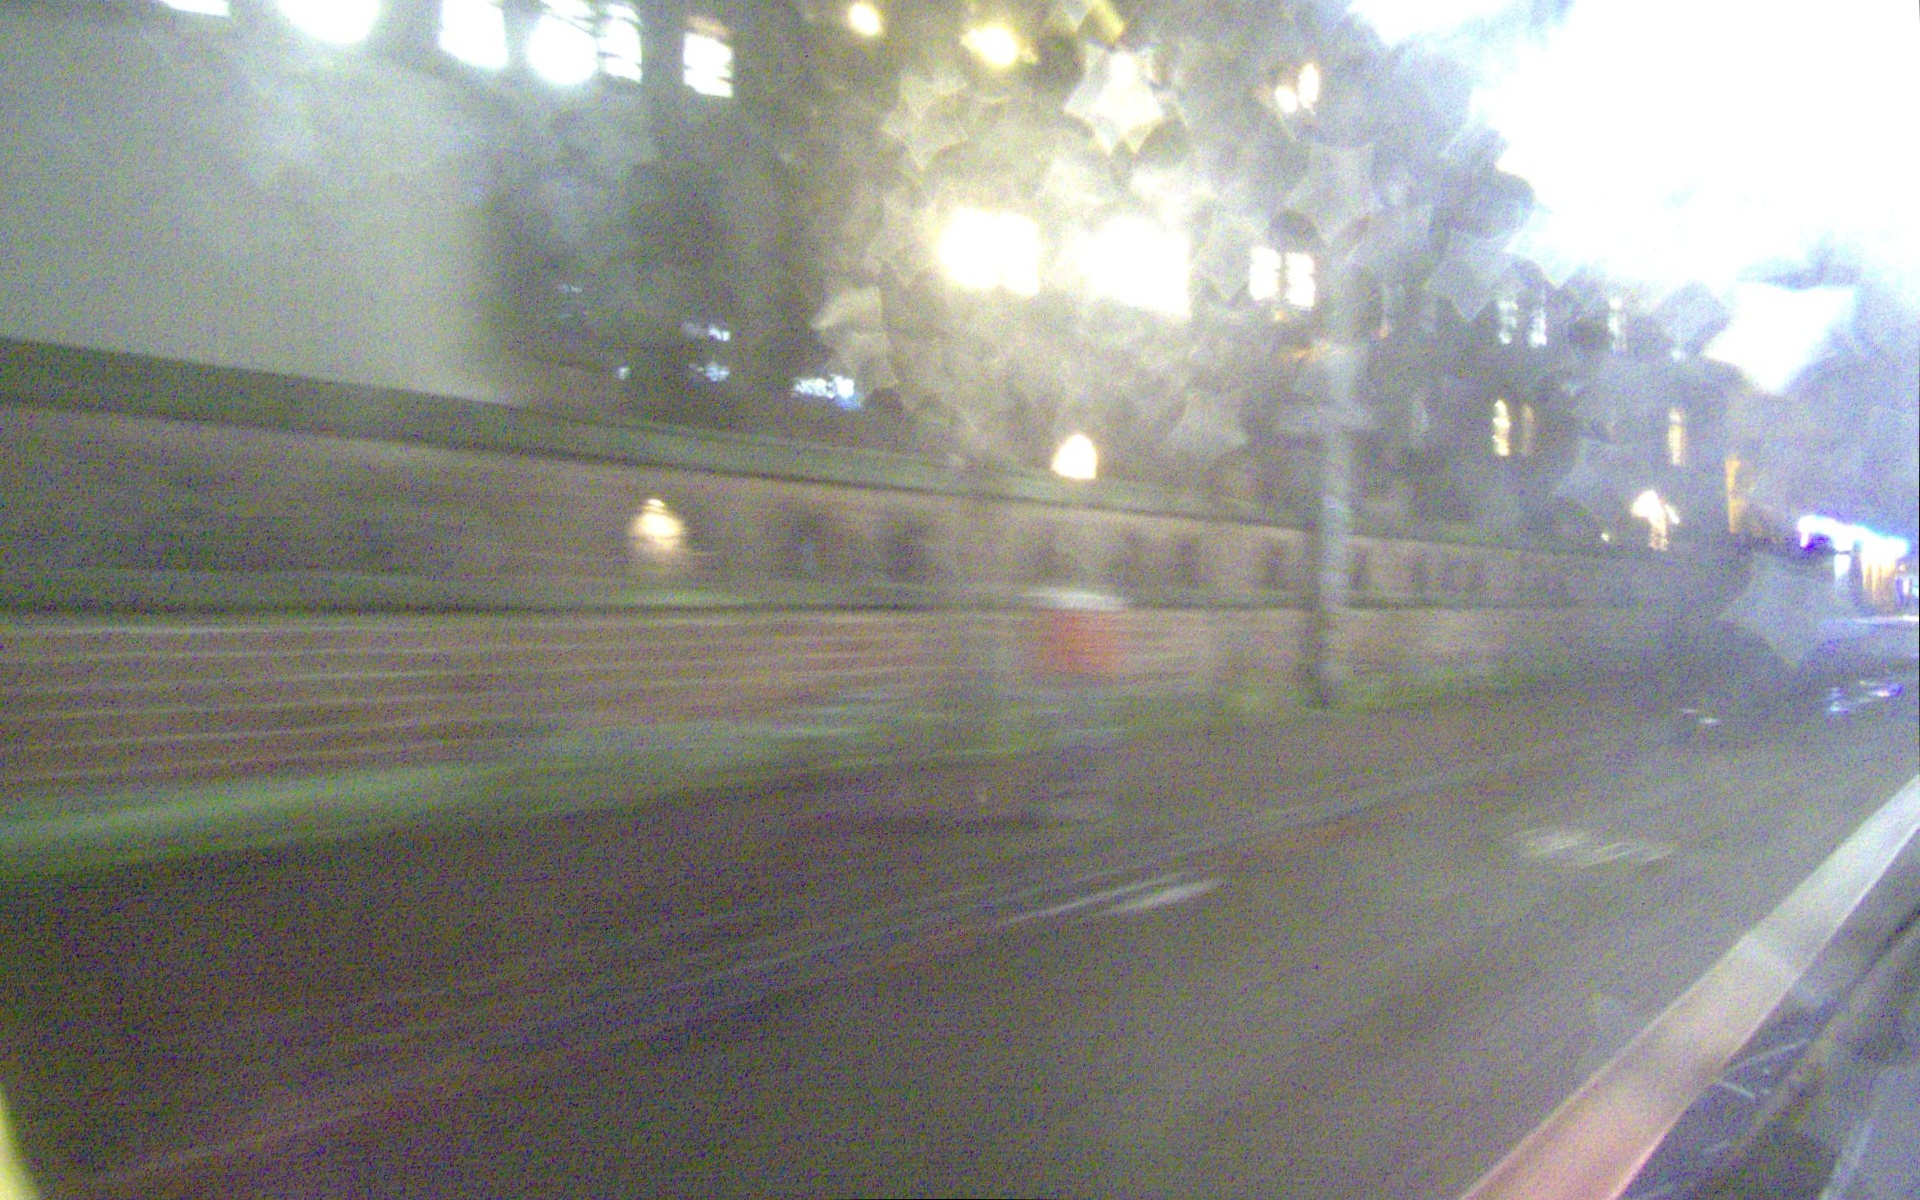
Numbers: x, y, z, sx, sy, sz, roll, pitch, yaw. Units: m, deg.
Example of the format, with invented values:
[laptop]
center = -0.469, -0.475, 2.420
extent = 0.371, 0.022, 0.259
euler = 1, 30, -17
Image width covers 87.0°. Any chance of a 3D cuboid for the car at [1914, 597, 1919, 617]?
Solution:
[car]
center = 74.753, 0.586, 75.958
extent = 4.063, 1.556, 1.944
euler = 1, 1, 25
